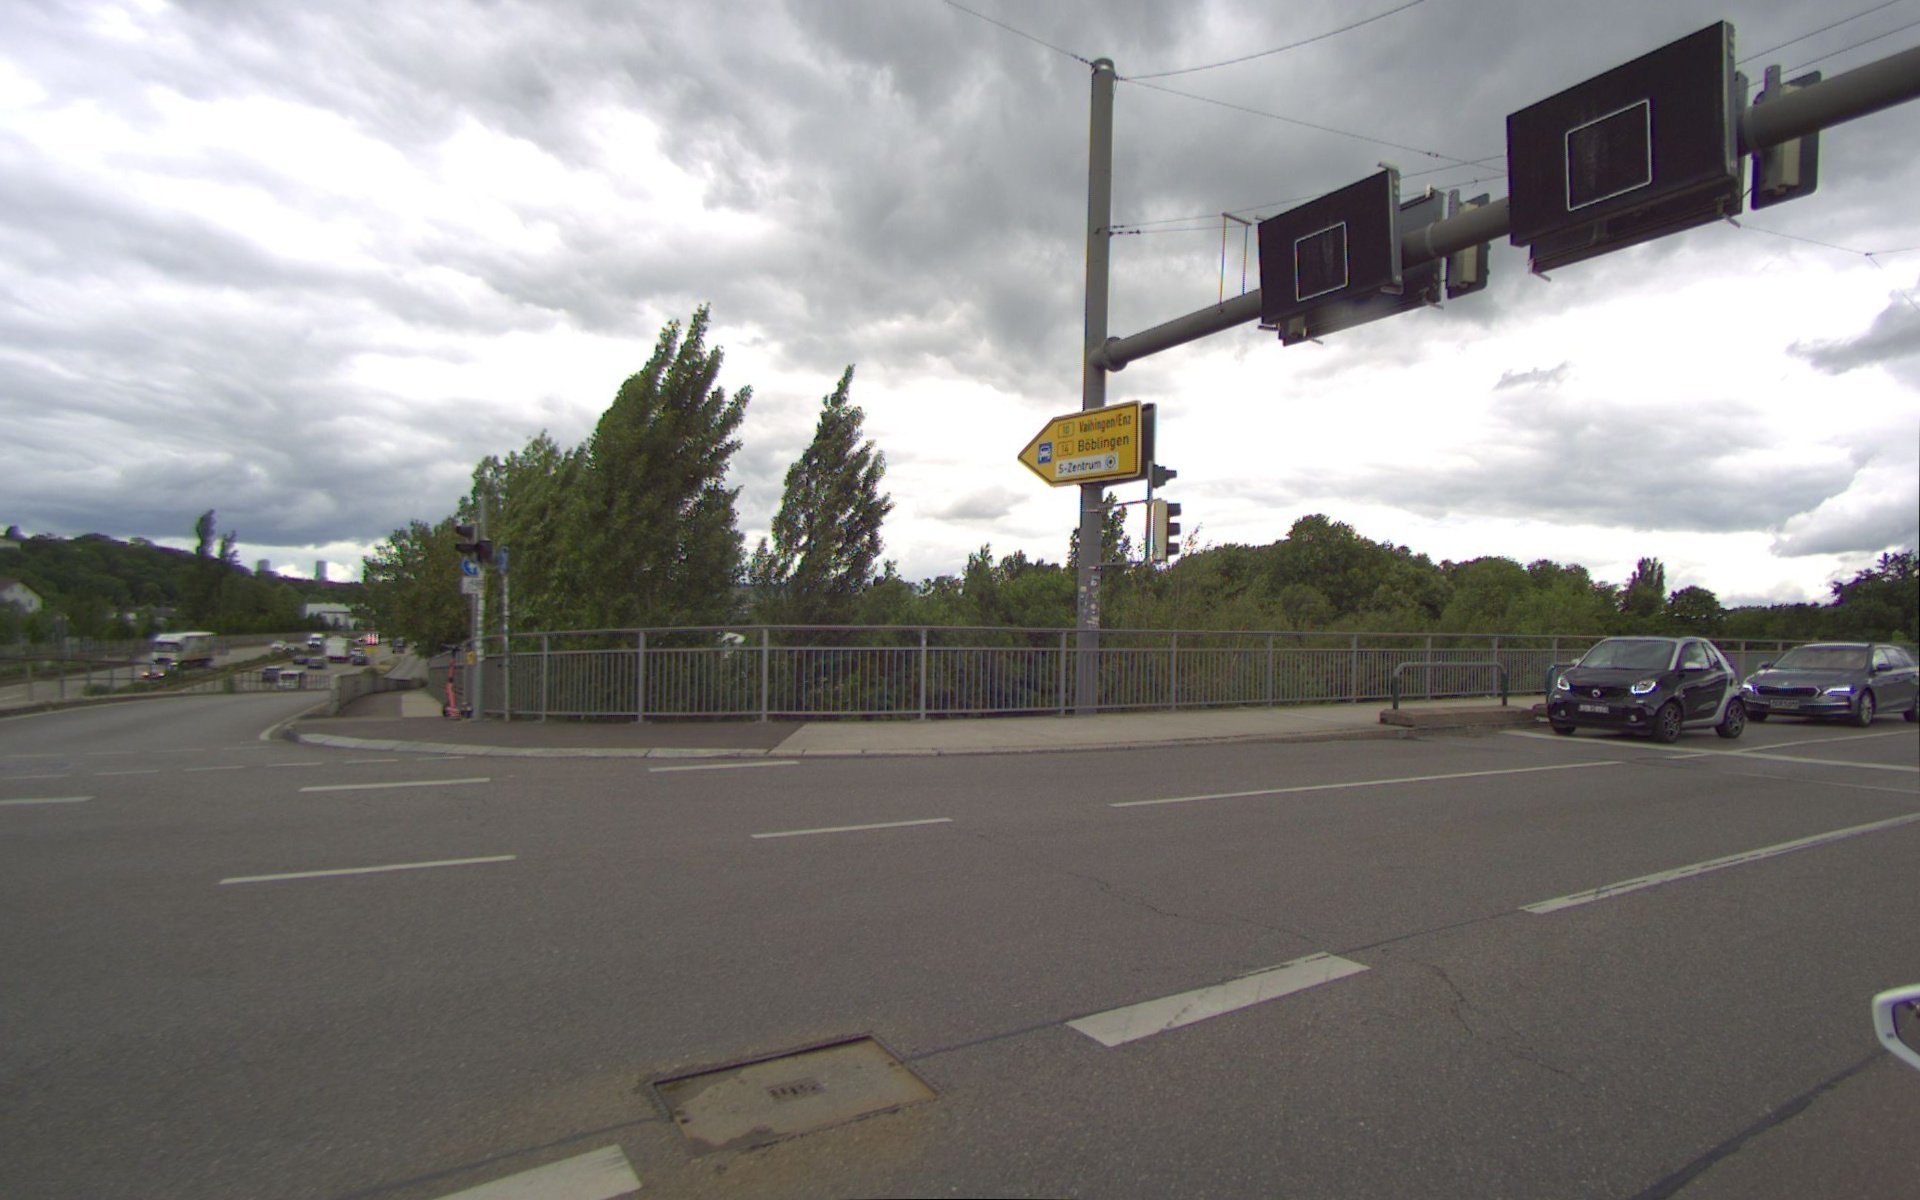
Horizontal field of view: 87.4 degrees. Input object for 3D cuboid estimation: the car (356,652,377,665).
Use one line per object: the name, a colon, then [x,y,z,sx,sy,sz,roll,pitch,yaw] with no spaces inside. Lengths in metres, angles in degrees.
car: [-85.204,8.412,144.254,2.111,1.586,4.396,3,-2,-26]

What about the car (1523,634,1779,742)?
car: [10.959,1.304,15.910,3.824,1.524,1.828,1,-2,-29]

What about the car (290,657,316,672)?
car: [-90.787,8.896,138.893,2.305,1.740,4.704,-1,0,-24]

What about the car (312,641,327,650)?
car: [-128.169,9.077,201.136,1.887,1.739,3.619,4,-4,-24]

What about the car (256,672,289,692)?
car: [-71.007,8.414,103.729,2.111,1.739,4.396,3,-2,-26]

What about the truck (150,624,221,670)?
truck: [-92.282,5.517,119.979,3.332,5.020,13.857,1,-1,-24]

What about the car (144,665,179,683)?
car: [-82.510,7.665,103.844,1.887,1.739,3.619,4,-4,-24]

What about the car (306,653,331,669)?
car: [-83.973,7.970,131.549,2.111,1.739,4.396,3,-2,-26]

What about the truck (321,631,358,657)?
truck: [-91.911,6.529,148.861,3.548,3.501,8.188,4,-3,-26]

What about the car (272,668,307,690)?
car: [-64.699,7.601,97.004,2.111,1.739,4.396,3,-2,-26]

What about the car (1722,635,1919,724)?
car: [16.556,1.428,19.066,4.465,1.524,1.826,1,-2,-31]

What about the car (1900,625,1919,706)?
car: [23.623,1.488,22.980,4.747,1.784,1.871,1,-2,-31]

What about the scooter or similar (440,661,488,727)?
scooter or similar: [-8.376,1.563,16.949,0.480,1.070,1.322,1,-3,-37]

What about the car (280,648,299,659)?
car: [-115.329,9.225,172.814,1.887,1.739,3.619,4,-4,-24]
